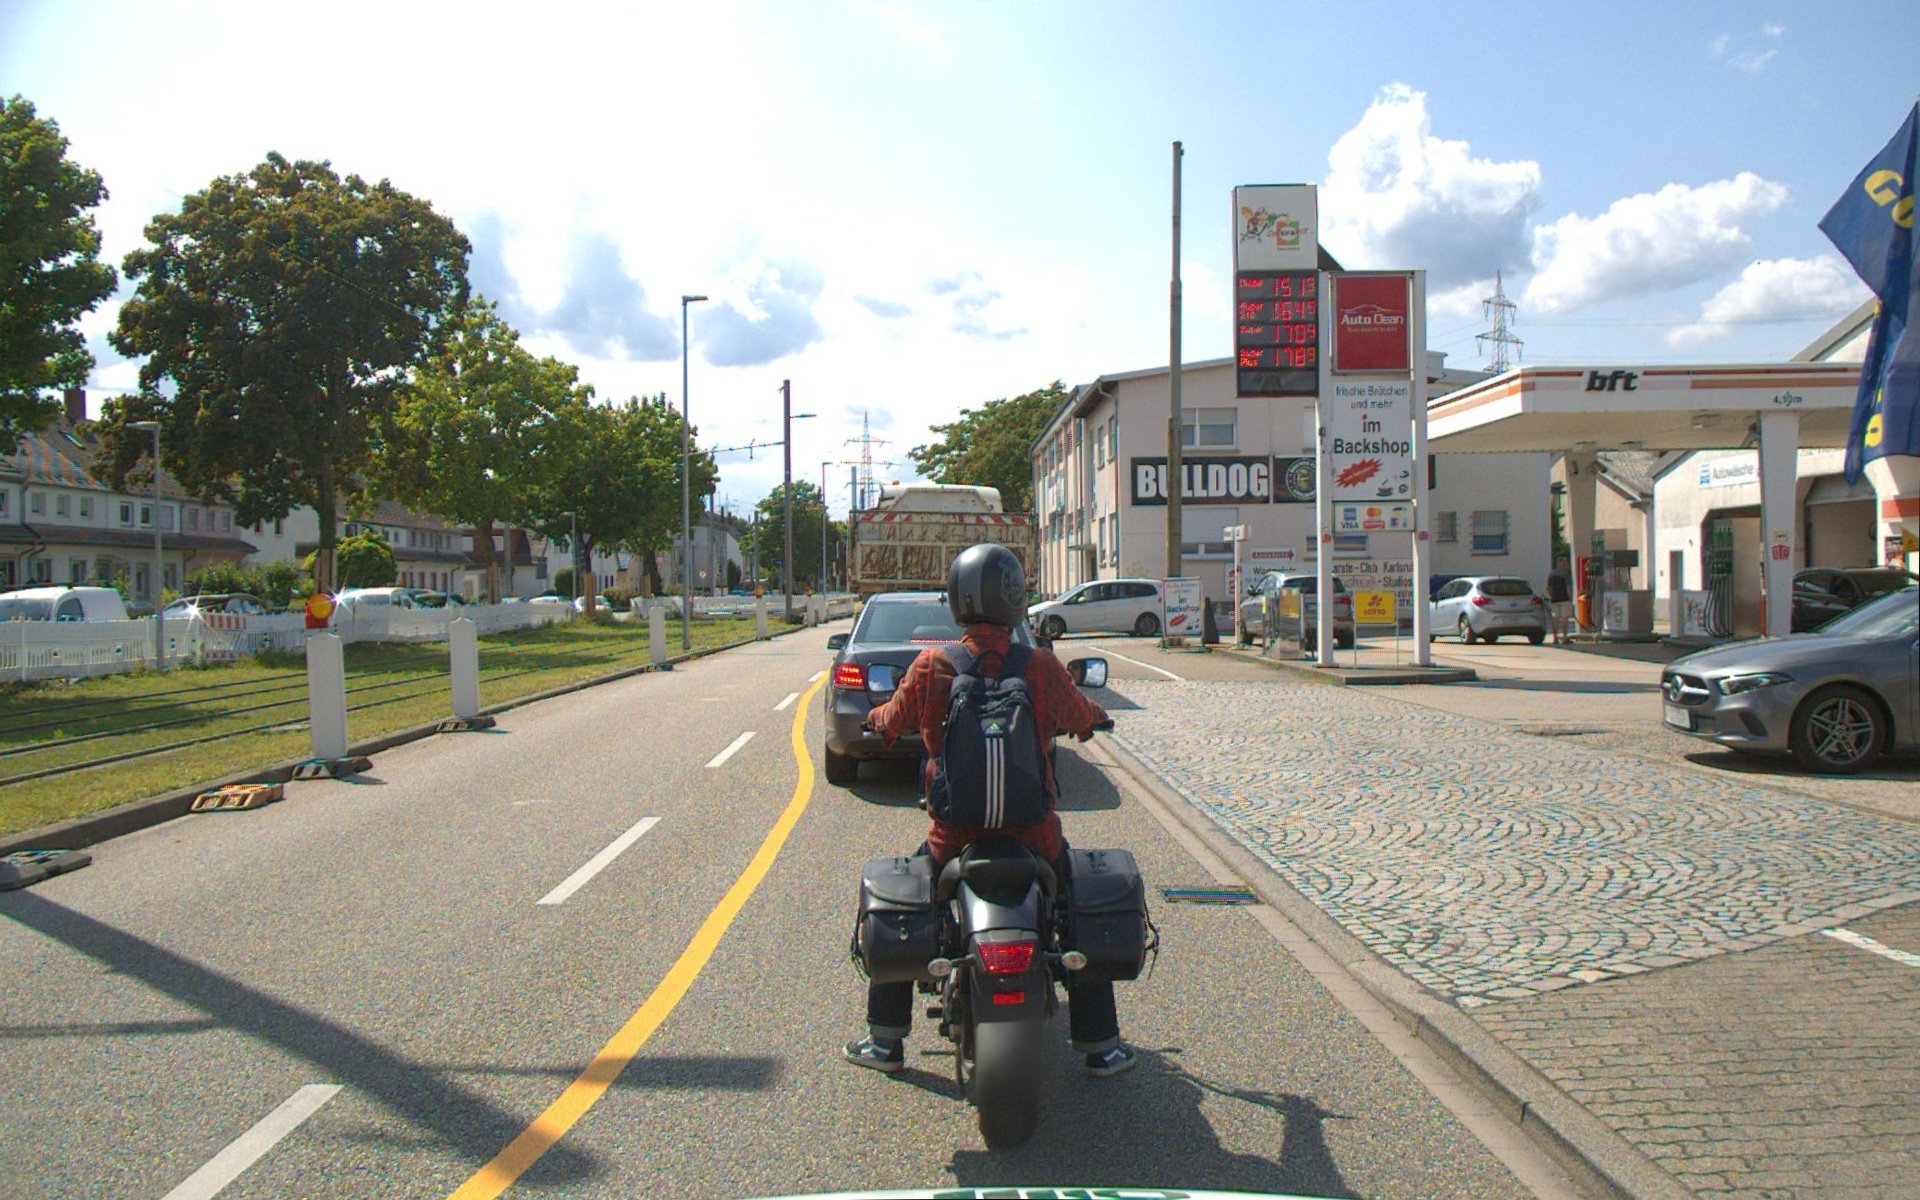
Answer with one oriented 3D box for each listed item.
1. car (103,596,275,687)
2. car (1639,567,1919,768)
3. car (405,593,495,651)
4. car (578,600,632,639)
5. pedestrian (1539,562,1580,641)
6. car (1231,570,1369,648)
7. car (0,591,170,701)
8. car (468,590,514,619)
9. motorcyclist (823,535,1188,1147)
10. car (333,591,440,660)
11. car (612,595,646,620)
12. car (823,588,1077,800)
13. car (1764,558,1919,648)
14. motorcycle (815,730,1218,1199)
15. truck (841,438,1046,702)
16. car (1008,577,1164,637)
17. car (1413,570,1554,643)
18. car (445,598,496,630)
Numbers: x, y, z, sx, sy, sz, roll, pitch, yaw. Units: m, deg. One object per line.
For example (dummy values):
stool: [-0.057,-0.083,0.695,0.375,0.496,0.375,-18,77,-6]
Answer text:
car: [-16.678,0.850,36.015,1.740,1.805,4.227,-1,0,-1]
car: [7.689,0.459,12.787,4.183,1.440,1.675,-1,0,3]
car: [-16.979,0.699,55.250,1.740,1.837,4.127,-1,0,-1]
car: [-17.063,0.907,79.674,1.740,1.753,4.127,-1,0,-1]
pedestrian: [12.948,0.029,35.703,0.696,1.685,0.546,-1,0,35]
car: [7.452,0.175,36.621,1.636,1.589,4.236,-1,0,-8]
car: [-16.437,0.785,30.378,1.740,1.853,4.363,-1,0,-1]
car: [-29.434,0.271,103.940,1.740,1.753,4.127,-1,0,-1]
motorcyclist: [0.117,0.645,5.008,0.959,1.630,1.087,-1,0,-1]
car: [-16.946,0.715,49.071,1.740,1.900,4.127,-1,0,-1]
car: [-24.974,0.542,124.841,1.740,1.753,4.127,-1,0,-1]
car: [-0.100,0.655,13.813,1.786,1.478,3.999,1,0,-1]
car: [16.613,0.024,30.311,1.770,1.529,3.832,-1,0,-3]
motorcycle: [0.119,0.998,5.313,0.959,0.913,2.653,-1,0,-1]
truck: [-0.269,-0.422,25.355,2.585,3.354,8.055,-1,0,-1]
car: [3.565,0.183,47.088,4.152,1.570,1.669,-1,0,-9]
car: [11.716,0.118,37.256,1.770,1.529,3.831,-1,0,-3]
car: [-28.308,0.775,95.823,1.740,1.753,4.127,-1,0,-1]
